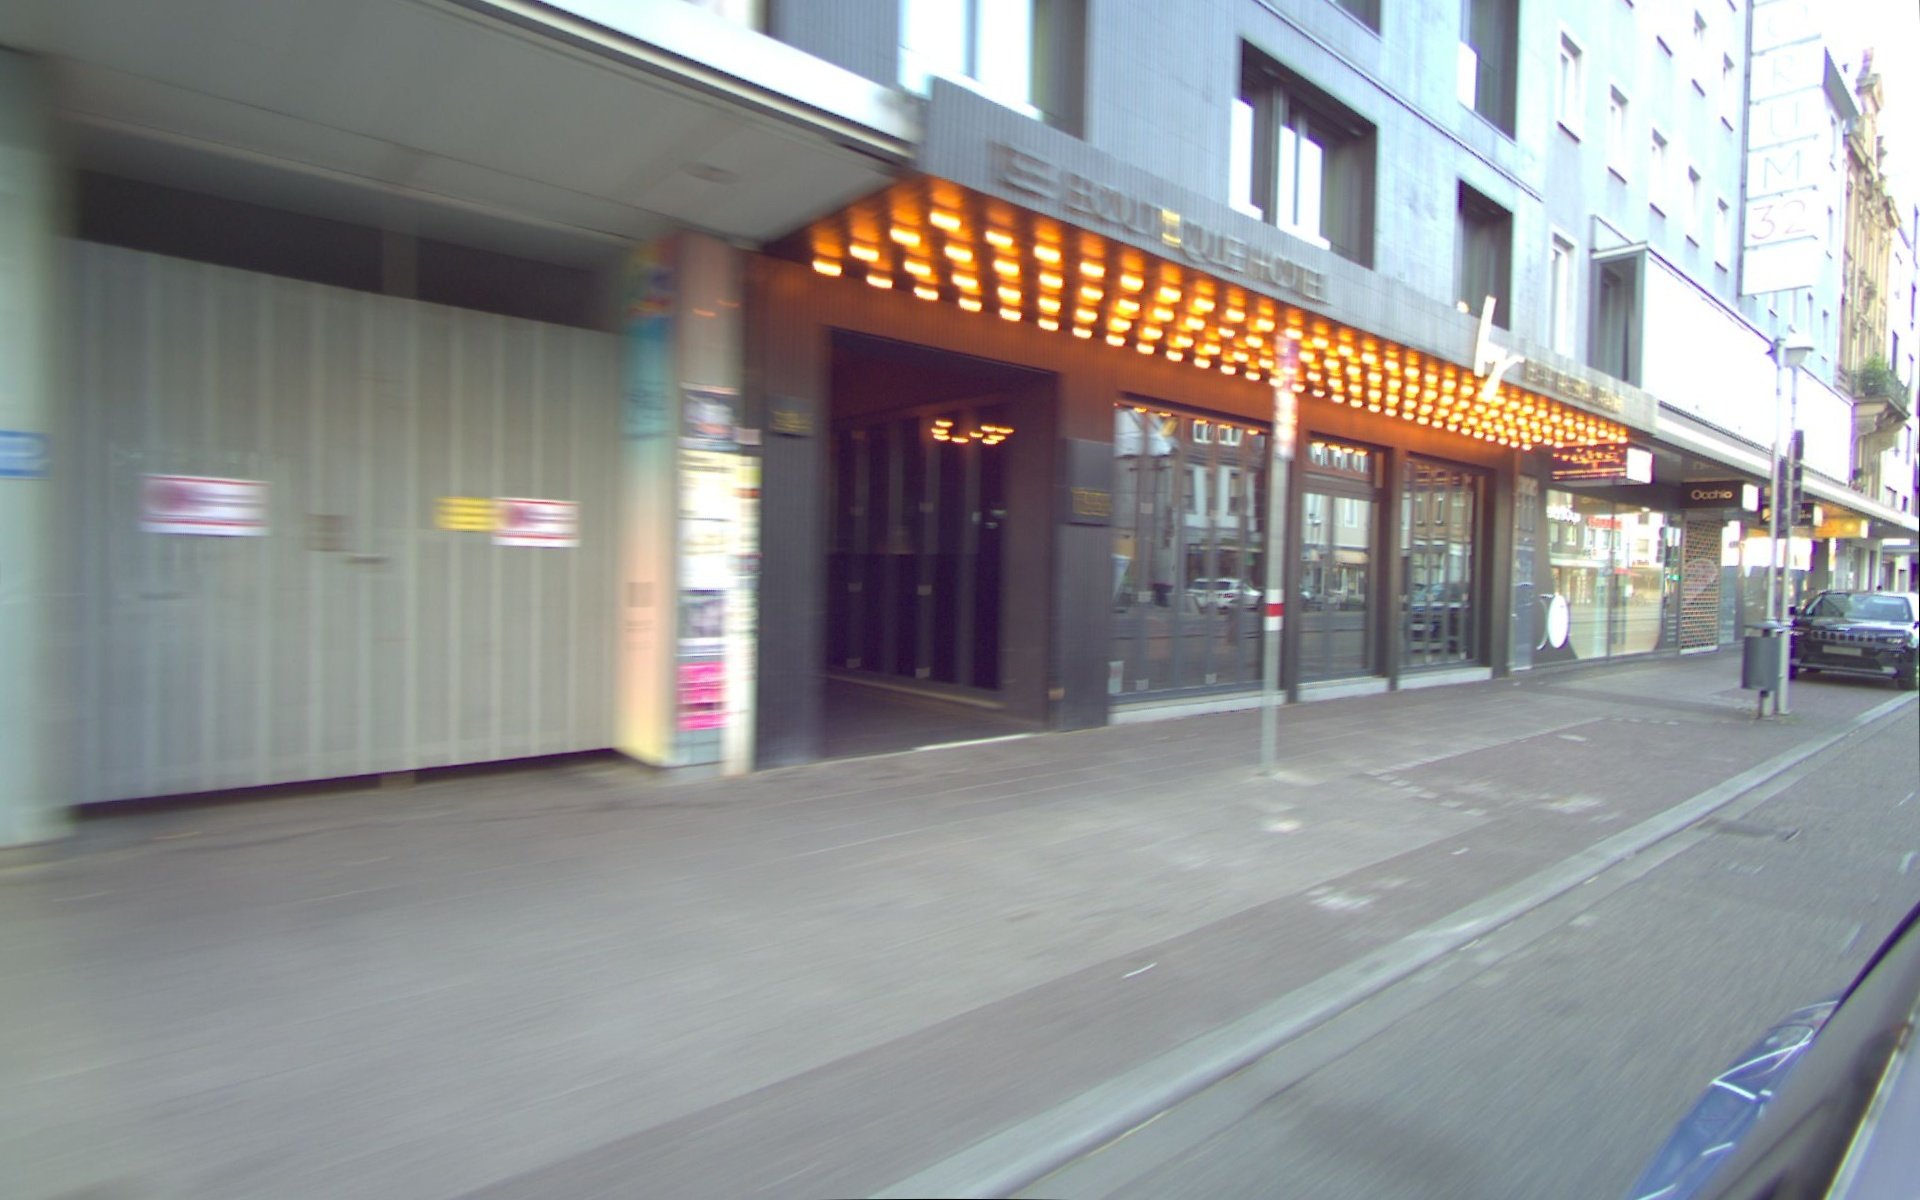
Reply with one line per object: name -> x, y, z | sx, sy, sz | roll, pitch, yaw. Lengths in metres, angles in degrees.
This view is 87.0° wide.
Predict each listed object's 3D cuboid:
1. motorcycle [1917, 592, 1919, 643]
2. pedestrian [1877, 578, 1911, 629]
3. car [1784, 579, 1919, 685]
motorcycle -> 26.488, 0.446, 27.235 | 2.591, 1.421, 0.784 | 0, 3, -41
pedestrian -> 33.362, 0.108, 36.146 | 0.776, 1.777, 0.742 | -1, 4, -44
car -> 15.384, 0.441, 16.998 | 3.897, 1.560, 1.743 | -1, 2, -41
